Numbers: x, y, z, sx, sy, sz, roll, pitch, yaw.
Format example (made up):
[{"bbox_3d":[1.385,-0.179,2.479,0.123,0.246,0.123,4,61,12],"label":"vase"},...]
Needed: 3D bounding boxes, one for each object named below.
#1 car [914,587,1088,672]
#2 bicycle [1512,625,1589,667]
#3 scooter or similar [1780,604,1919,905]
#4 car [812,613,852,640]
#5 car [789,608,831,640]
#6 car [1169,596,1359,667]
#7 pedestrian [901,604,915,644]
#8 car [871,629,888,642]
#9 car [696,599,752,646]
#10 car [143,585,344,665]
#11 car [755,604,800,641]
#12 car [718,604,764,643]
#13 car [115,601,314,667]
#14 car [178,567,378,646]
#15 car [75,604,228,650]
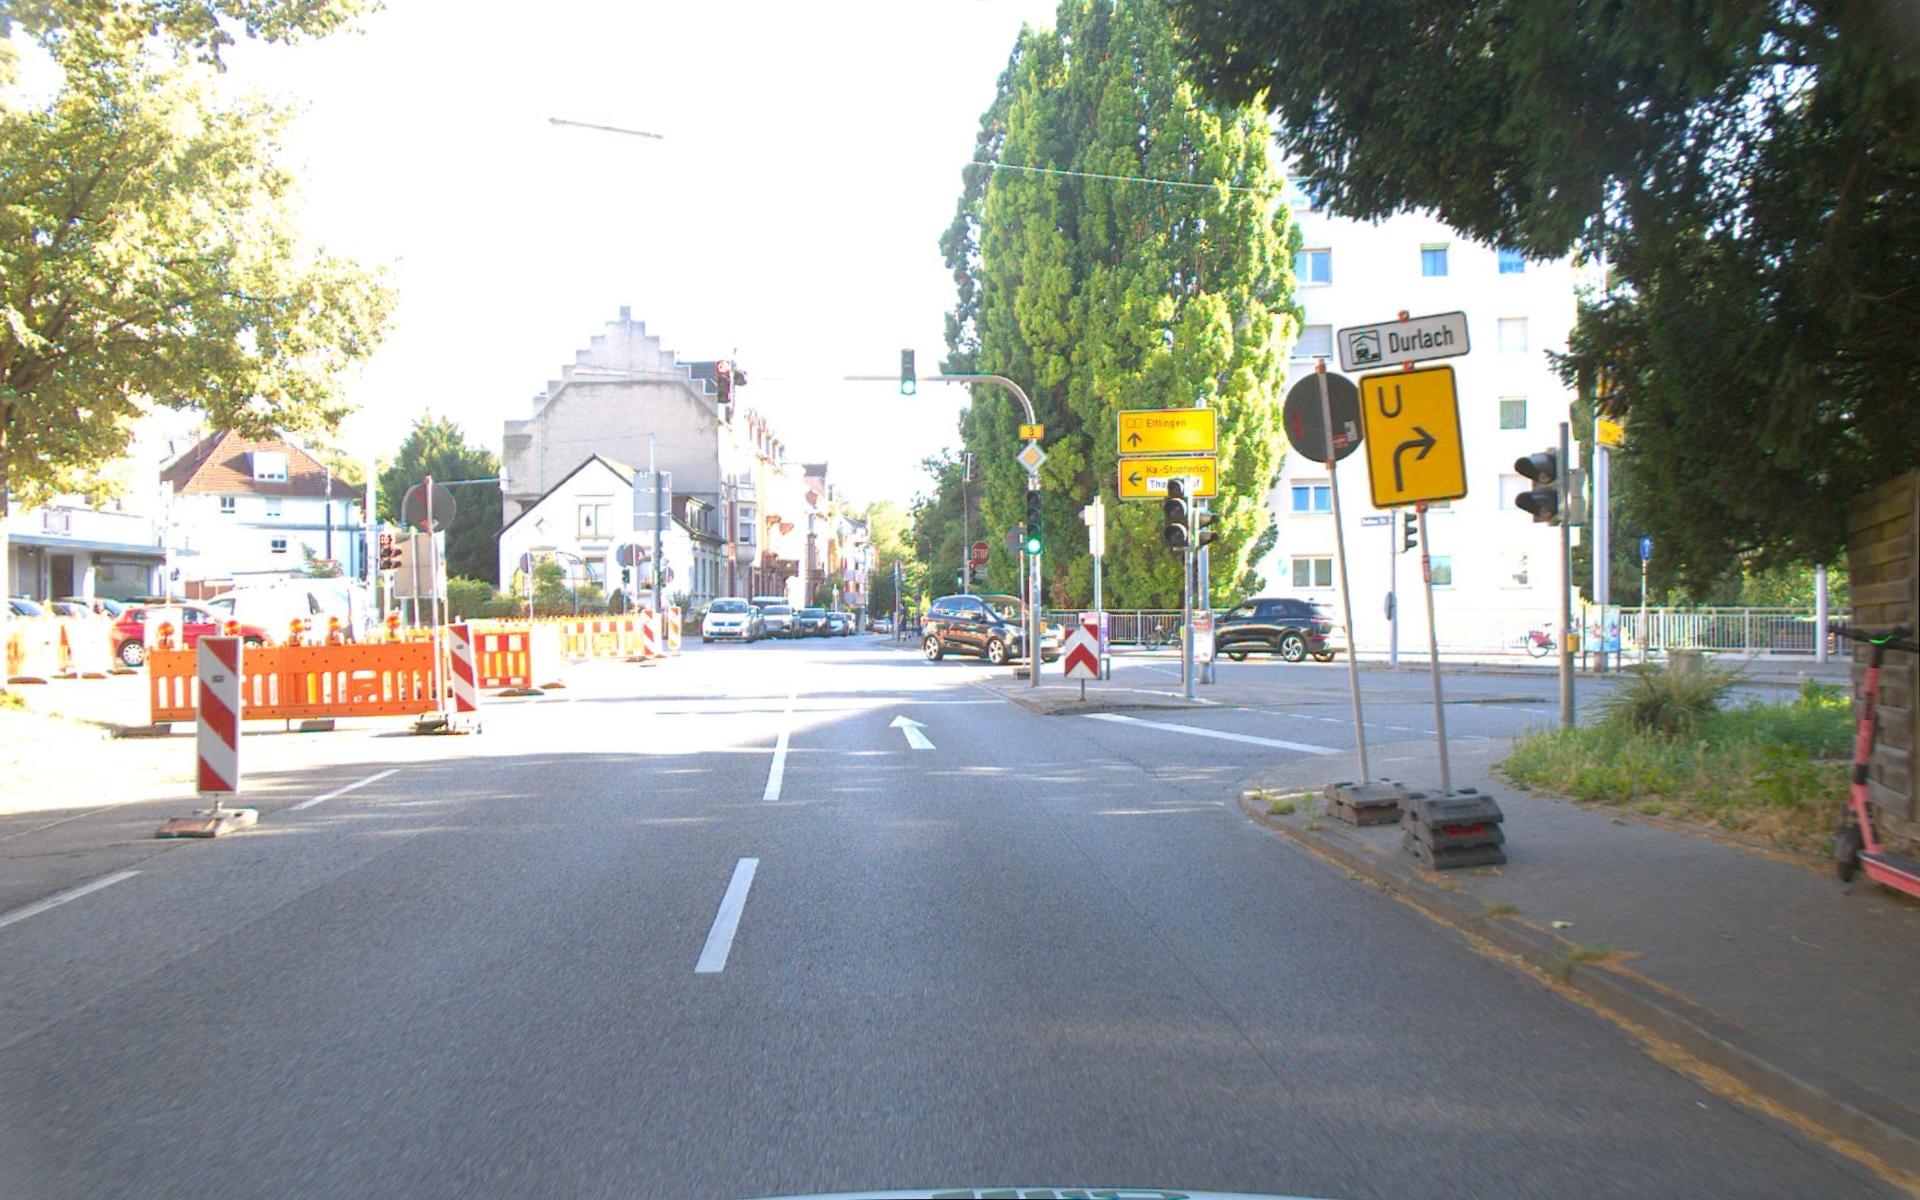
[{"bbox_3d":[0.932,0.645,40.035,1.981,1.847,4.193,-3,2,-39],"label":"car"},{"bbox_3d":[16.241,1.261,45.483,1.886,1.087,0.613,1,0,37],"label":"bicycle"},{"bbox_3d":[4.157,0.640,7.268,0.429,1.223,1.258,-3,0,0],"label":"scooter or similar"},{"bbox_3d":[-8.298,1.718,107.466,1.912,1.677,4.285,1,0,4],"label":"car"},{"bbox_3d":[-8.470,1.345,93.585,1.913,1.677,4.283,1,0,1],"label":"car"},{"bbox_3d":[7.977,0.812,43.642,4.580,1.699,1.988,0,-4,42],"label":"car"},{"bbox_3d":[-2.232,1.021,70.919,0.590,1.723,0.612,-1,0,-1],"label":"pedestrian"},{"bbox_3d":[-10.157,4.438,209.499,1.952,1.518,4.470,-1,0,0],"label":"car"},{"bbox_3d":[-8.466,0.774,59.125,1.744,1.570,3.988,1,0,-12],"label":"car"},{"bbox_3d":[-18.279,0.624,42.333,4.225,1.884,2.000,1,0,-1],"label":"car"},{"bbox_3d":[-8.805,1.059,80.004,1.740,1.677,4.532,1,0,-2],"label":"car"},{"bbox_3d":[-9.032,0.943,68.464,1.741,1.506,4.091,1,0,-6],"label":"car"},{"bbox_3d":[-17.862,0.799,39.789,3.915,1.505,1.997,1,0,-8],"label":"car"},{"bbox_3d":[-18.562,0.191,45.224,4.576,1.999,2.115,1,0,-6],"label":"car"},{"bbox_3d":[-27.184,0.899,55.668,4.221,1.423,2.002,1,0,10],"label":"car"}]
